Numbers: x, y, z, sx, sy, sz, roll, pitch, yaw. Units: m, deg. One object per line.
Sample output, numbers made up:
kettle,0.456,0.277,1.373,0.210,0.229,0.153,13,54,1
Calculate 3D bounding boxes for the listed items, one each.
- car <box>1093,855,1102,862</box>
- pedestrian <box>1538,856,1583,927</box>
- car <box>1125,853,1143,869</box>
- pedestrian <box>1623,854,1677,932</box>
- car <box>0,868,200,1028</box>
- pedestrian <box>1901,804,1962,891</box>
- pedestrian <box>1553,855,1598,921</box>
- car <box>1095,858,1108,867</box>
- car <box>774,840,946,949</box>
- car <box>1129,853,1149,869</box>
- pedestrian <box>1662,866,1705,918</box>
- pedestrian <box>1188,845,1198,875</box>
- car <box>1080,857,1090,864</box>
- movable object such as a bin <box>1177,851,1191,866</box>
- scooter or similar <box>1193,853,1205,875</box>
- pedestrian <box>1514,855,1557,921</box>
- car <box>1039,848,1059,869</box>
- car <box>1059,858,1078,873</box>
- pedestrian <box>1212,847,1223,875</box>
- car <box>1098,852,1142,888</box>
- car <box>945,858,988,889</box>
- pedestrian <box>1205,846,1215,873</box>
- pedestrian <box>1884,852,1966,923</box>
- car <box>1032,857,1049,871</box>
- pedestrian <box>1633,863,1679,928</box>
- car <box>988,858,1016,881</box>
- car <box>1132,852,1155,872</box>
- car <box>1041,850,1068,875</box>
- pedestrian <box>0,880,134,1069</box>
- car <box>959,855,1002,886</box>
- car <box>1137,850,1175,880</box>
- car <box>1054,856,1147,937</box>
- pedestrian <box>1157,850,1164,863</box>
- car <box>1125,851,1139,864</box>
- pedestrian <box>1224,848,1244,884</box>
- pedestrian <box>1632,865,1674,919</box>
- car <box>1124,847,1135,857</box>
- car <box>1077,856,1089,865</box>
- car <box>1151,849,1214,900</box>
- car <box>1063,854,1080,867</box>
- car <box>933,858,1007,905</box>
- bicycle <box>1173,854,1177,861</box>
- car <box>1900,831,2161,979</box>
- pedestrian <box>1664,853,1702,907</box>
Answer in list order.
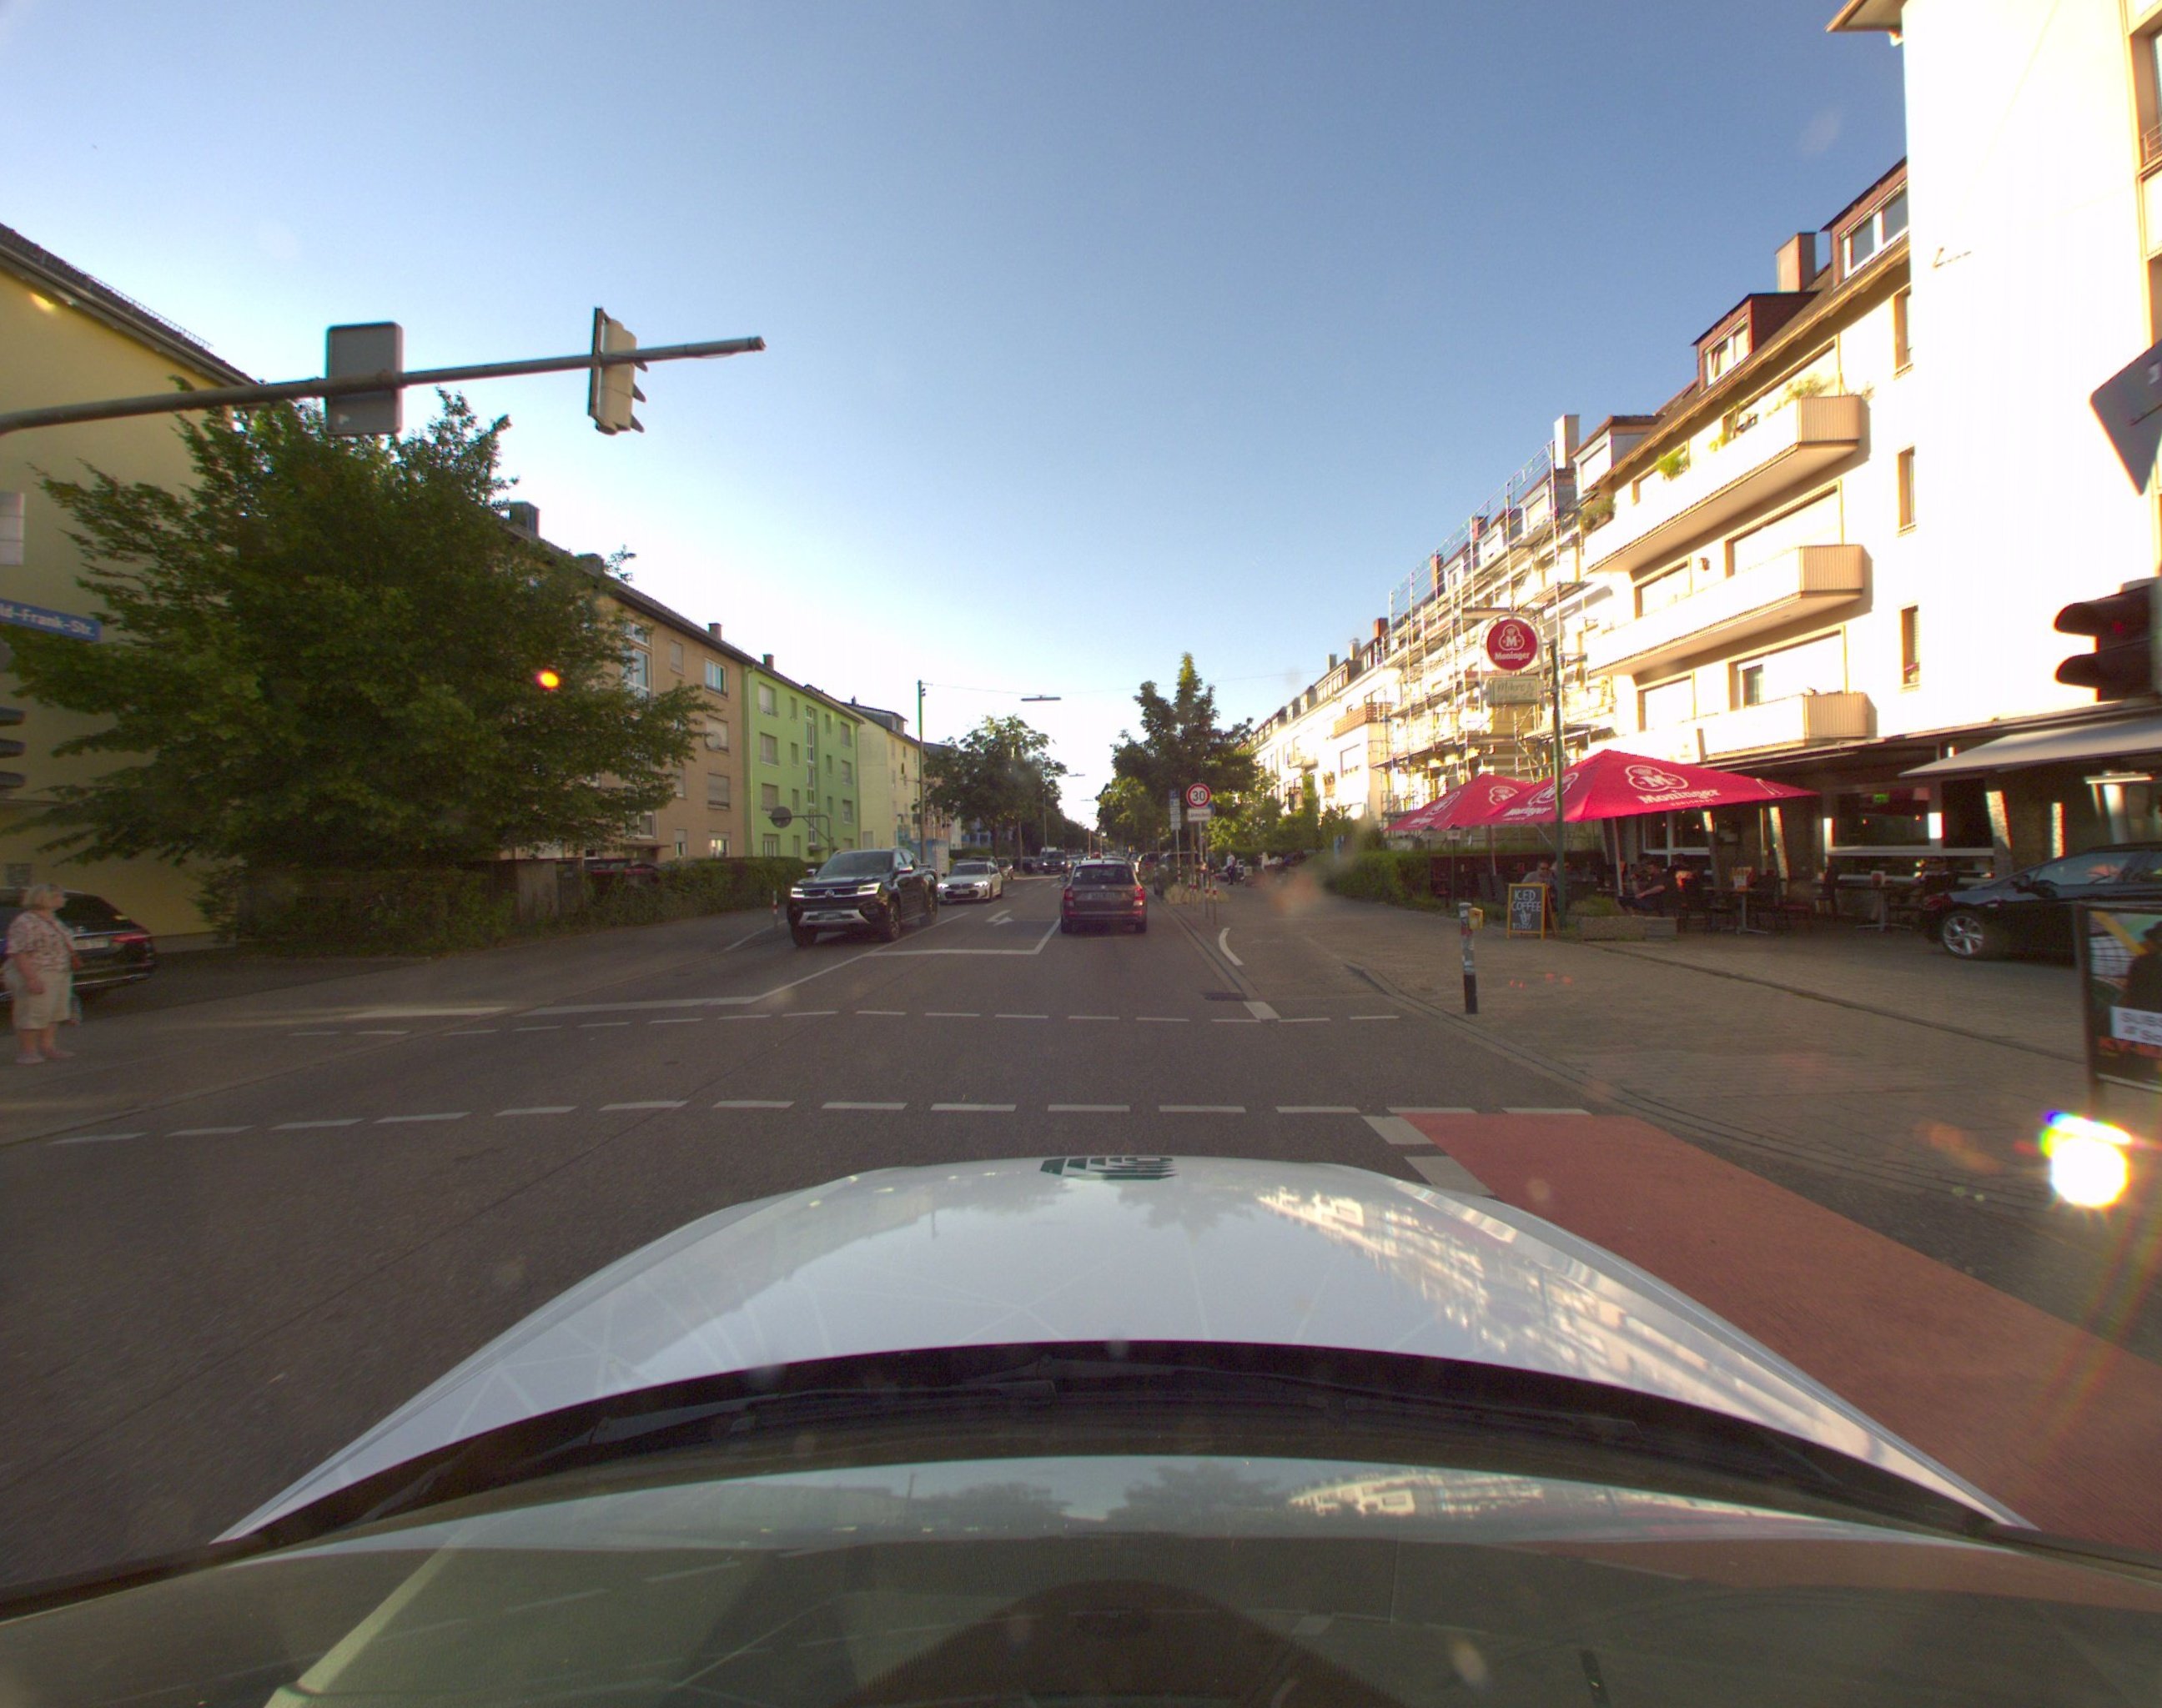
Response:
car,4.653,1.296,228.151,1.989,1.750,3.995,-2,0,-3
pedestrian,7.979,0.618,13.567,0.410,1.150,0.633,-1,-1,6
car,5.748,0.735,88.398,1.712,1.601,4.097,-2,0,1
pedestrian,9.580,0.640,13.726,0.522,1.283,0.541,-1,-1,4
car,-13.347,0.976,9.239,4.577,1.614,1.842,0,0,-1
pedestrian,17.867,-0.129,17.121,0.522,1.775,0.685,-1,-1,2
pedestrian,8.780,0.595,14.476,0.483,1.150,0.526,-1,-1,6
car,3.224,1.317,127.339,1.776,1.480,3.969,0,0,-1
car,-4.361,0.731,17.099,1.854,1.829,5.231,-3,0,3
car,5.709,0.722,81.181,1.712,1.494,4.395,-2,0,1
pedestrian,11.887,0.743,16.079,0.521,0.991,0.414,-1,-1,7
pedestrian,6.976,0.383,50.845,0.545,1.849,0.766,-1,0,9
car,0.877,1.377,174.670,1.874,1.543,4.265,-2,0,-1
movable object such as a bin,10.669,0.477,84.299,1.259,1.492,1.143,-4,0,11
scooter or similar,7.365,0.636,50.788,0.742,1.317,0.722,-1,0,8
pedestrian,8.109,0.594,14.549,0.491,1.150,0.526,-1,-1,6
car,-3.948,0.546,101.697,1.986,2.616,7.107,0,0,1
car,-1.267,1.173,86.300,1.810,1.446,4.110,-4,0,1
pedestrian,8.370,0.421,49.991,0.509,1.697,0.526,-1,0,-3
car,1.803,0.753,38.449,1.885,1.506,3.790,2,-1,1
car,-6.248,1.037,44.862,1.677,1.521,4.191,-1,0,0
pedestrian,8.078,0.332,50.943,0.509,1.697,0.526,-1,0,-3
pedestrian,14.054,0.545,13.580,0.605,1.150,0.721,-1,-1,4
car,-4.467,1.101,90.330,1.606,1.473,3.814,1,0,1
pedestrian,10.302,0.734,14.598,0.521,1.150,0.414,-1,-1,7
car,-5.692,1.086,58.889,1.492,1.617,2.865,-1,0,5
car,5.367,0.684,70.691,1.866,1.581,4.825,-3,0,3
car,-2.265,0.730,71.119,1.986,1.946,4.779,-4,0,2
pedestrian,-9.426,1.066,7.438,0.605,1.594,0.750,-2,1,-1
car,-6.063,0.973,49.725,1.776,1.733,4.620,-2,0,3
car,4.410,0.605,48.273,1.716,1.655,4.596,-1,0,-1
car,0.488,0.806,17.302,1.746,1.492,4.004,0,0,4
pedestrian,11.045,0.358,112.582,0.793,1.861,0.954,-2,0,13
car,7.167,0.495,114.868,1.794,1.808,4.423,0,0,0
pedestrian,6.763,0.513,36.041,0.557,1.568,0.744,-1,0,-16
pedestrian,11.325,0.749,16.136,0.521,1.049,0.414,-1,-1,7
car,8.208,-0.399,137.955,1.746,1.686,4.256,0,0,4
car,0.363,1.046,142.367,1.692,1.470,4.299,-3,0,4
car,3.552,0.675,29.036,1.786,1.632,4.030,-1,0,1
car,-1.196,0.794,104.373,1.825,1.470,4.453,-4,0,1
car,-3.933,0.932,29.707,1.829,1.473,4.673,-3,0,2
bicycle,14.018,0.533,121.163,0.473,0.944,1.681,-2,0,1
car,11.785,0.489,8.754,1.821,1.484,4.206,-1,0,2
pedestrian,13.461,0.576,18.217,0.521,1.189,0.414,-1,-2,7
